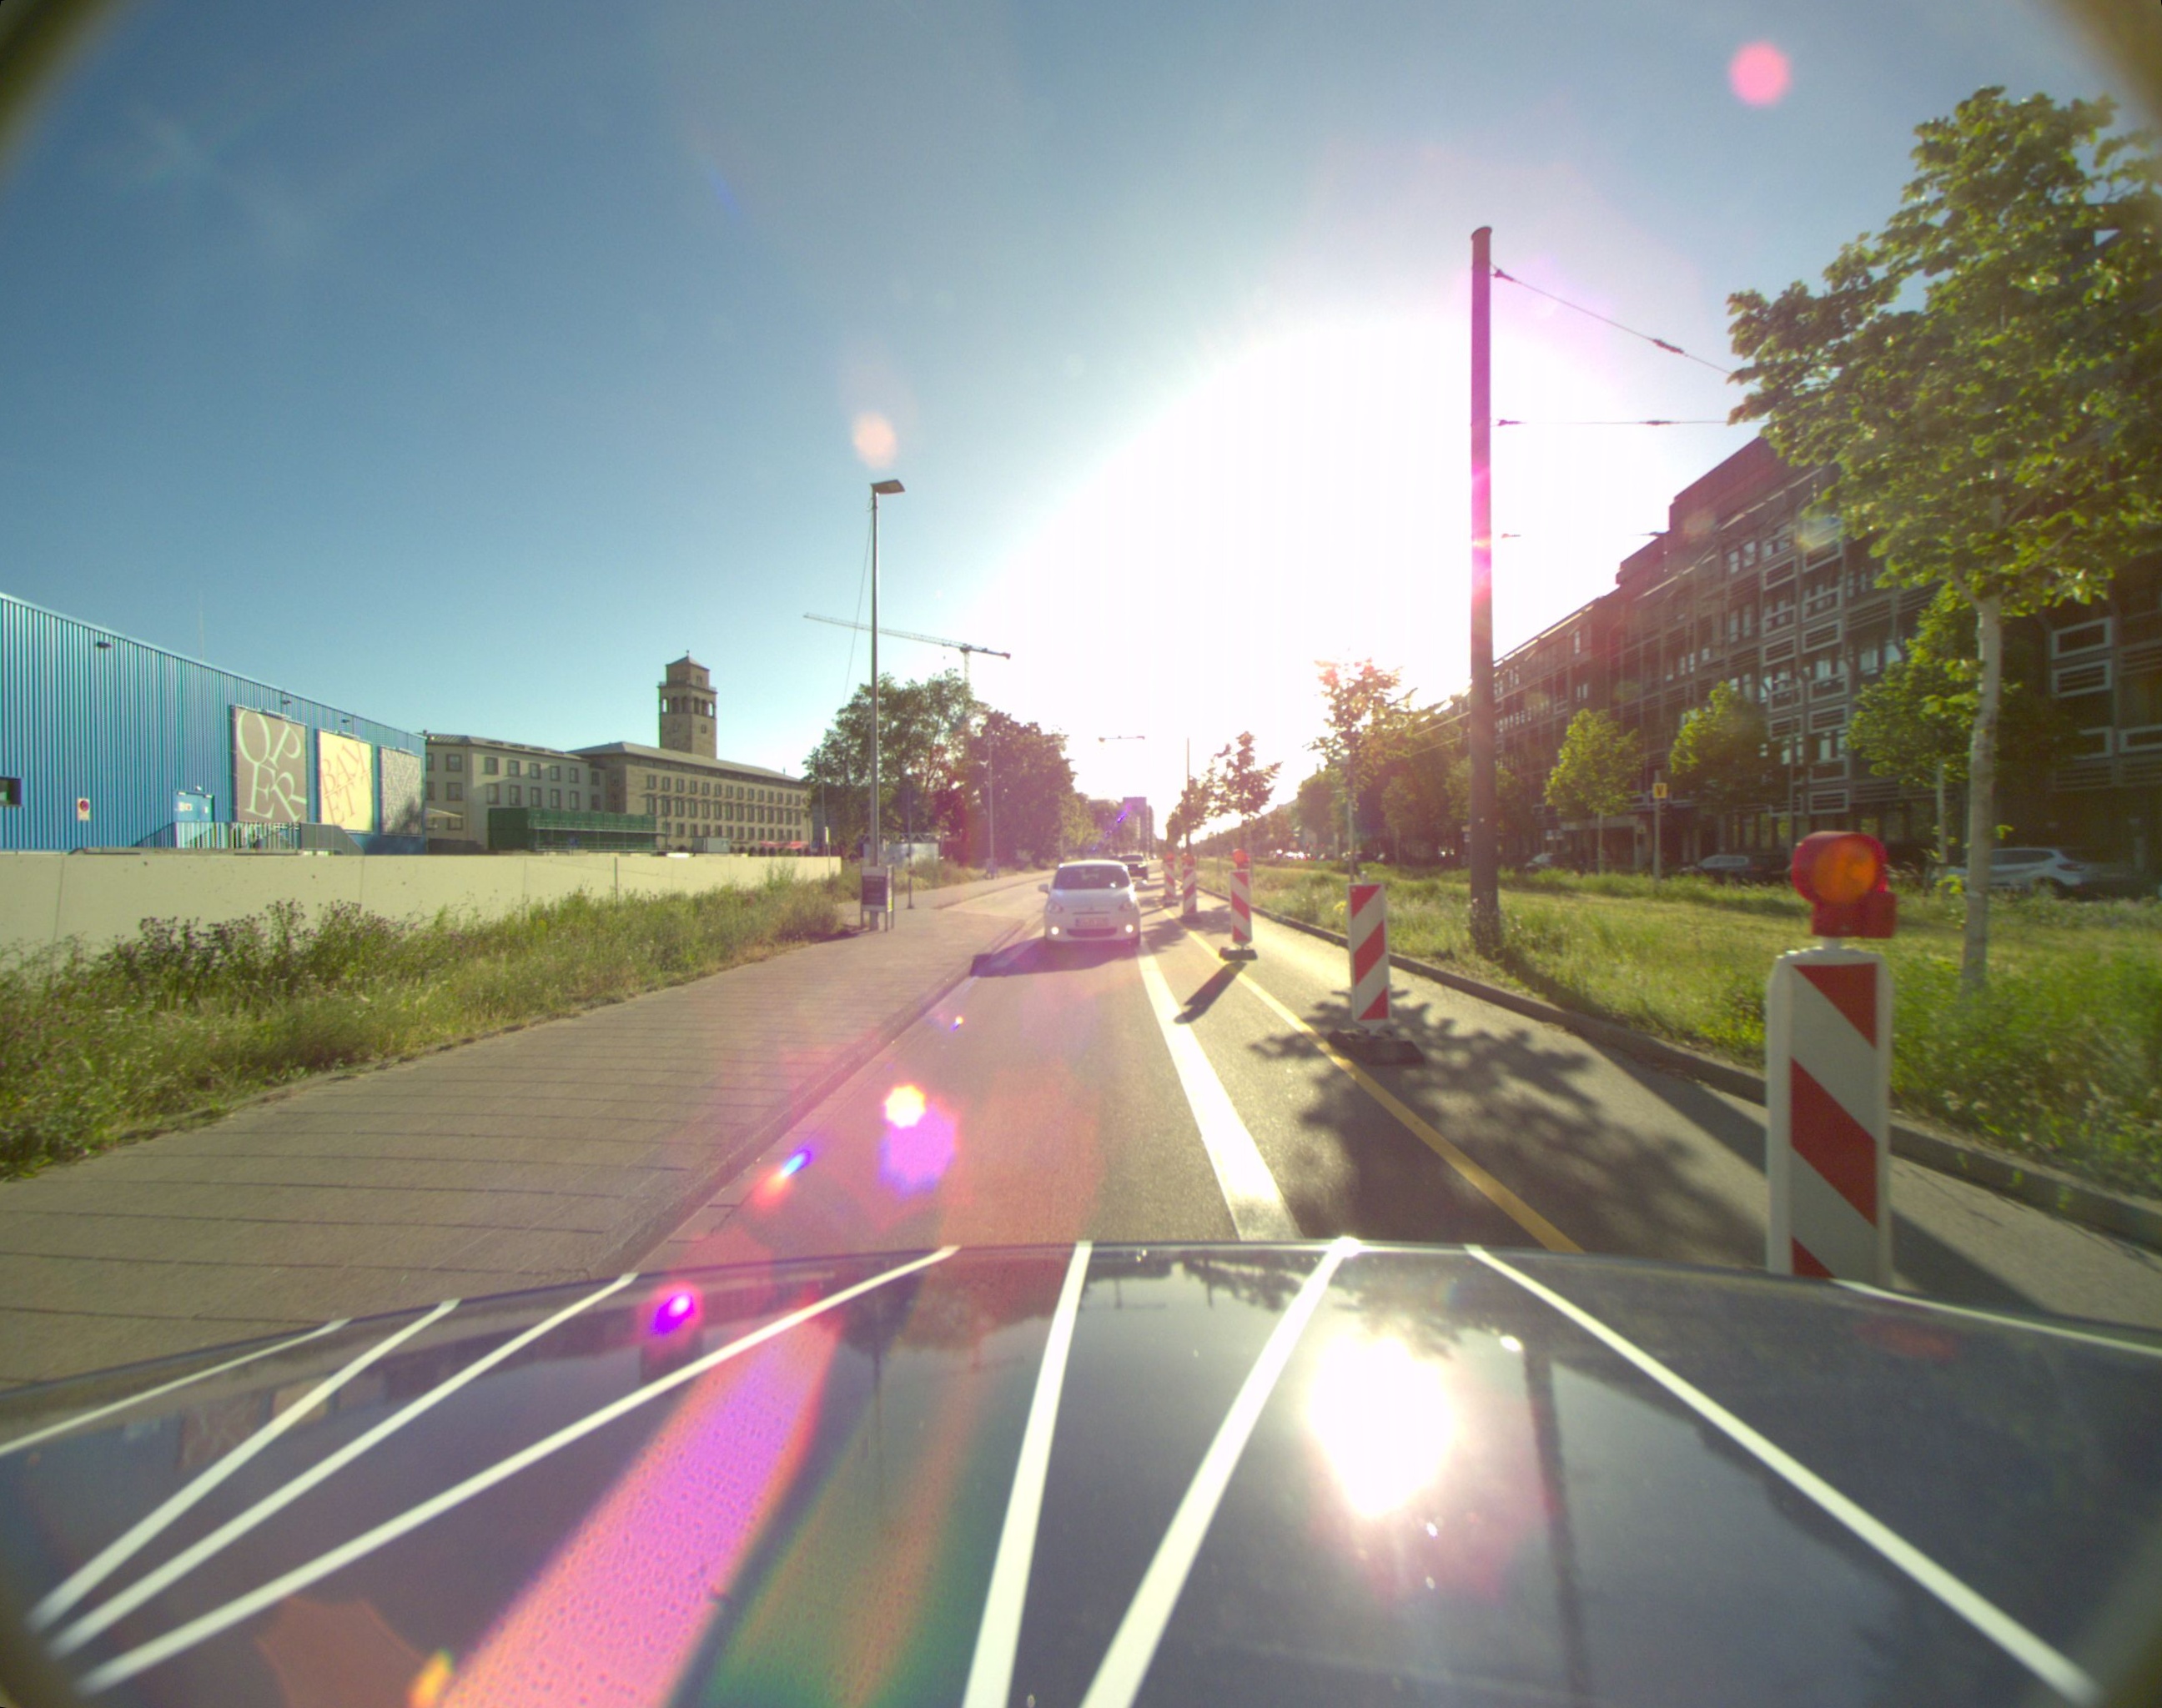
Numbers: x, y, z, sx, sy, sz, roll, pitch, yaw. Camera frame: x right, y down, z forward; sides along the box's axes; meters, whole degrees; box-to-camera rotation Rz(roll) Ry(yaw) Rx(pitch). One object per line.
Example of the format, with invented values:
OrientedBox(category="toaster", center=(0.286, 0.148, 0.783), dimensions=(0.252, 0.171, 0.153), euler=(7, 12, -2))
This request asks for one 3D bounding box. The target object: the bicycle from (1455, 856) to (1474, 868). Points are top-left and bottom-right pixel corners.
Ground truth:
OrientedBox(category="bicycle", center=(27.325, 0.577, 54.202), dimensions=(0.566, 0.872, 1.771), euler=(0, 0, 5))

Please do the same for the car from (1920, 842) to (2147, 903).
OrientedBox(category="car", center=(26.623, 0.474, 21.482), dimensions=(1.741, 1.527, 3.886), euler=(-2, 0, 6))

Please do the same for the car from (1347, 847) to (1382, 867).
OrientedBox(category="car", center=(25.216, 0.239, 67.726), dimensions=(1.732, 1.736, 4.122), euler=(-1, 0, 4))

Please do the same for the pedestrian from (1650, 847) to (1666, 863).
OrientedBox(category="pedestrian", center=(36.233, 0.074, 47.727), dimensions=(0.618, 0.980, 0.499), euler=(0, 1, 8))

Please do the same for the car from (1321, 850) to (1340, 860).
OrientedBox(category="car", center=(35.283, 0.096, 107.691), dimensions=(1.719, 1.379, 4.041), euler=(-1, 0, 5))

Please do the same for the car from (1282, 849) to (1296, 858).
OrientedBox(category="car", center=(34.532, -0.132, 126.190), dimensions=(1.631, 1.487, 3.781), euler=(0, 0, 7))

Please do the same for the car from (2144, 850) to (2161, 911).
OrientedBox(category="car", center=(26.160, 0.612, 16.261), dimensions=(1.628, 1.433, 3.820), euler=(-2, 0, 6))

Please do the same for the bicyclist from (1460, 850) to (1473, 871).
OrientedBox(category="bicyclist", center=(27.284, 0.461, 53.742), dimensions=(0.566, 1.449, 0.706), euler=(0, 1, 5))

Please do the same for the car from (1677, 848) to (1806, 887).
OrientedBox(category="car", center=(27.509, 0.535, 31.873), dimensions=(1.733, 1.460, 4.506), euler=(-2, 0, 5))

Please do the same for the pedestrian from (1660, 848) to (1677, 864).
OrientedBox(category="pedestrian", center=(36.054, 0.097, 46.631), dimensions=(0.618, 0.980, 0.499), euler=(0, 1, 8))

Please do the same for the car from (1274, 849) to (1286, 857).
OrientedBox(category="car", center=(36.360, -0.161, 138.856), dimensions=(1.554, 1.371, 3.781), euler=(0, 0, 7))

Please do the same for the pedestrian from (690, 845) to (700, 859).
OrientedBox(category="pedestrian", center=(-35.265, -0.173, 69.428), dimensions=(0.572, 1.288, 0.441), euler=(-3, 2, 17))

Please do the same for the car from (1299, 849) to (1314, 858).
OrientedBox(category="car", center=(37.351, -0.044, 125.821), dimensions=(1.631, 1.487, 4.419), euler=(0, 0, 7))

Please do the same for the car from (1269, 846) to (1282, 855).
OrientedBox(category="car", center=(37.706, -0.723, 147.323), dimensions=(1.864, 1.671, 3.781), euler=(0, 0, 7))

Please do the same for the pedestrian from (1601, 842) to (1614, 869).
OrientedBox(category="pedestrian", center=(33.998, 0.112, 49.089), dimensions=(0.521, 1.712, 0.536), euler=(0, 1, 9))

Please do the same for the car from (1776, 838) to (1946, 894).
OrientedBox(category="car", center=(27.035, 0.387, 26.586), dimensions=(1.754, 1.761, 4.333), euler=(-2, 0, 6))

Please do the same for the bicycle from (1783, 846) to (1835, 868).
OrientedBox(category="bicycle", center=(35.770, 0.167, 37.356), dimensions=(1.932, 1.066, 0.425), euler=(0, 1, 10))

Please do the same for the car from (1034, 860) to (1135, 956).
OrientedBox(category="car", center=(0.167, 0.920, 14.456), dimensions=(1.614, 1.489, 3.395), euler=(-3, 0, 4))

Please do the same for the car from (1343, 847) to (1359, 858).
OrientedBox(category="car", center=(41.560, -0.254, 117.026), dimensions=(1.389, 1.592, 3.267), euler=(-3, 0, 5))

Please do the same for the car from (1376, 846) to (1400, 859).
OrientedBox(category="car", center=(38.177, -0.197, 94.616), dimensions=(1.725, 1.535, 3.632), euler=(-3, 0, 5))

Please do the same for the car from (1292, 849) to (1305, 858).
OrientedBox(category="car", center=(38.494, -0.072, 134.651), dimensions=(1.631, 1.487, 3.781), euler=(0, 0, 7))

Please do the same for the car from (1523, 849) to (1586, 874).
OrientedBox(category="car", center=(29.182, 0.414, 46.993), dimensions=(1.719, 1.379, 4.040), euler=(-1, 2, 6))

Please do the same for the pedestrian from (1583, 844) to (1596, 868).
OrientedBox(category="pedestrian", center=(33.094, 0.115, 49.444), dimensions=(0.521, 1.569, 0.536), euler=(0, 1, 9))

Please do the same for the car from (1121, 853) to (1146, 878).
OrientedBox(category="car", center=(3.315, 0.715, 47.988), dimensions=(1.458, 1.472, 3.528), euler=(-1, 0, 4))
